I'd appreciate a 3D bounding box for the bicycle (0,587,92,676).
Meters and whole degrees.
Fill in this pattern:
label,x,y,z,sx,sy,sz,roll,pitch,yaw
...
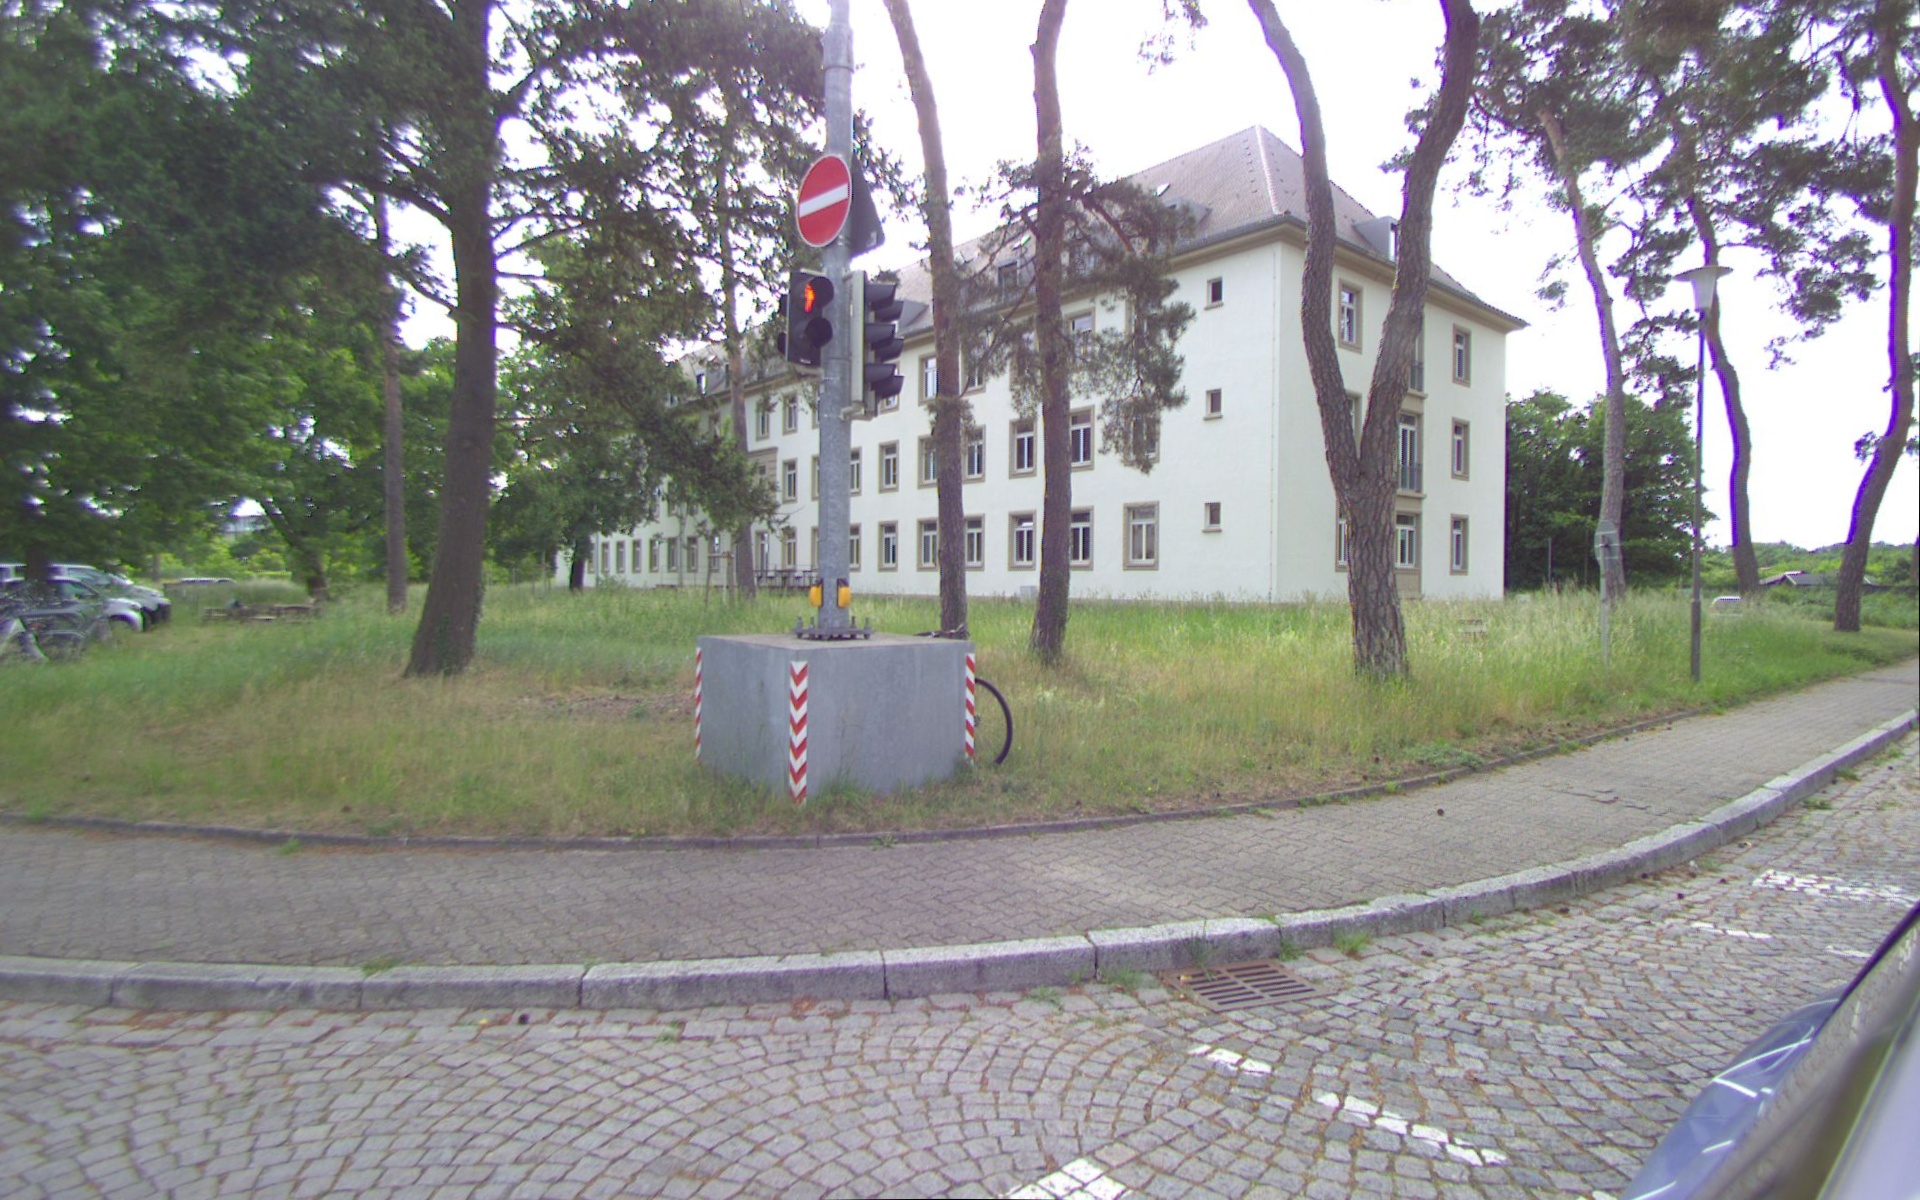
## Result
label,x,y,z,sx,sy,sz,roll,pitch,yaw
bicycle,-14.442,0.470,15.357,1.883,1.336,0.507,0,0,-35

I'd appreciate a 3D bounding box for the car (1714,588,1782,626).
label,x,y,z,sx,sy,sz,roll,pitch,yaw
car,33.894,0.256,43.514,3.221,1.451,1.640,-3,3,-40

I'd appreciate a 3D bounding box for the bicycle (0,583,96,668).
label,x,y,z,sx,sy,sz,roll,pitch,yaw
bicycle,-15.019,0.391,16.156,1.817,1.336,0.557,0,0,-35

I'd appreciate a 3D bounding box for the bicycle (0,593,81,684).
label,x,y,z,sx,sy,sz,roll,pitch,yaw
bicycle,-13.347,0.527,14.100,1.607,1.231,0.543,0,0,-35

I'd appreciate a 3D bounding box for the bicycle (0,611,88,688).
label,x,y,z,sx,sy,sz,roll,pitch,yaw
bicycle,-12.583,0.641,13.129,1.866,0.961,0.543,0,1,-35

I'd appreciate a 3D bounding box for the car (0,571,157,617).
label,x,y,z,sx,sy,sz,roll,pitch,yaw
car,-32.882,-0.238,37.837,4.436,1.638,1.998,-1,1,-40

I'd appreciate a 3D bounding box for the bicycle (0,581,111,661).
label,x,y,z,sx,sy,sz,roll,pitch,yaw
bicycle,-16.553,0.349,18.078,2.062,1.384,0.760,0,1,-35

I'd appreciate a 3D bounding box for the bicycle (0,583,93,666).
label,x,y,z,sx,sy,sz,roll,pitch,yaw
bicycle,-15.482,0.391,16.565,1.901,1.336,0.555,0,0,-35

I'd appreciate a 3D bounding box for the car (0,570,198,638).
label,x,y,z,sx,sy,sz,roll,pitch,yaw
car,-21.279,0.062,25.026,3.860,1.549,1.861,0,1,-38

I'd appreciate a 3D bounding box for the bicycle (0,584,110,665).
label,x,y,z,sx,sy,sz,roll,pitch,yaw
bicycle,-15.704,0.393,17.118,1.977,1.336,0.542,0,0,-35

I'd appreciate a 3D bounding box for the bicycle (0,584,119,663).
label,x,y,z,sx,sy,sz,roll,pitch,yaw
bicycle,-16.013,0.393,17.603,2.091,1.336,0.556,0,0,-35

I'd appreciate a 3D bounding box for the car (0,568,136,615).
label,x,y,z,sx,sy,sz,roll,pitch,yaw
car,-35.447,-0.351,39.856,4.612,1.795,1.998,-1,1,-40

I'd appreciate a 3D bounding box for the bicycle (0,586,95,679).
label,x,y,z,sx,sy,sz,roll,pitch,yaw
bicycle,-14.052,0.468,14.913,1.938,1.336,0.578,0,0,-35

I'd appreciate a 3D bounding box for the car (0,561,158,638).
label,x,y,z,sx,sy,sz,roll,pitch,yaw
car,-24.463,-0.028,26.690,2.225,1.934,4.802,1,1,34

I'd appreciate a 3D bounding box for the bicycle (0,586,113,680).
label,x,y,z,sx,sy,sz,roll,pitch,yaw
bicycle,-13.547,0.465,14.594,2.009,1.336,0.439,0,0,-35

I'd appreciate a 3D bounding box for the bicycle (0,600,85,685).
label,x,y,z,sx,sy,sz,roll,pitch,yaw
bicycle,-13.035,0.571,13.604,1.866,1.115,0.543,0,1,-35

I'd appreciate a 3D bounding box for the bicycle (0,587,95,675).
label,x,y,z,sx,sy,sz,roll,pitch,yaw
bicycle,-14.706,0.469,15.725,1.882,1.336,0.393,0,0,-35

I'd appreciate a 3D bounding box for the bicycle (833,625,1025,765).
label,x,y,z,sx,sy,sz,roll,pitch,yaw
bicycle,-0.288,0.674,7.796,0.562,0.885,1.704,0,1,-39
